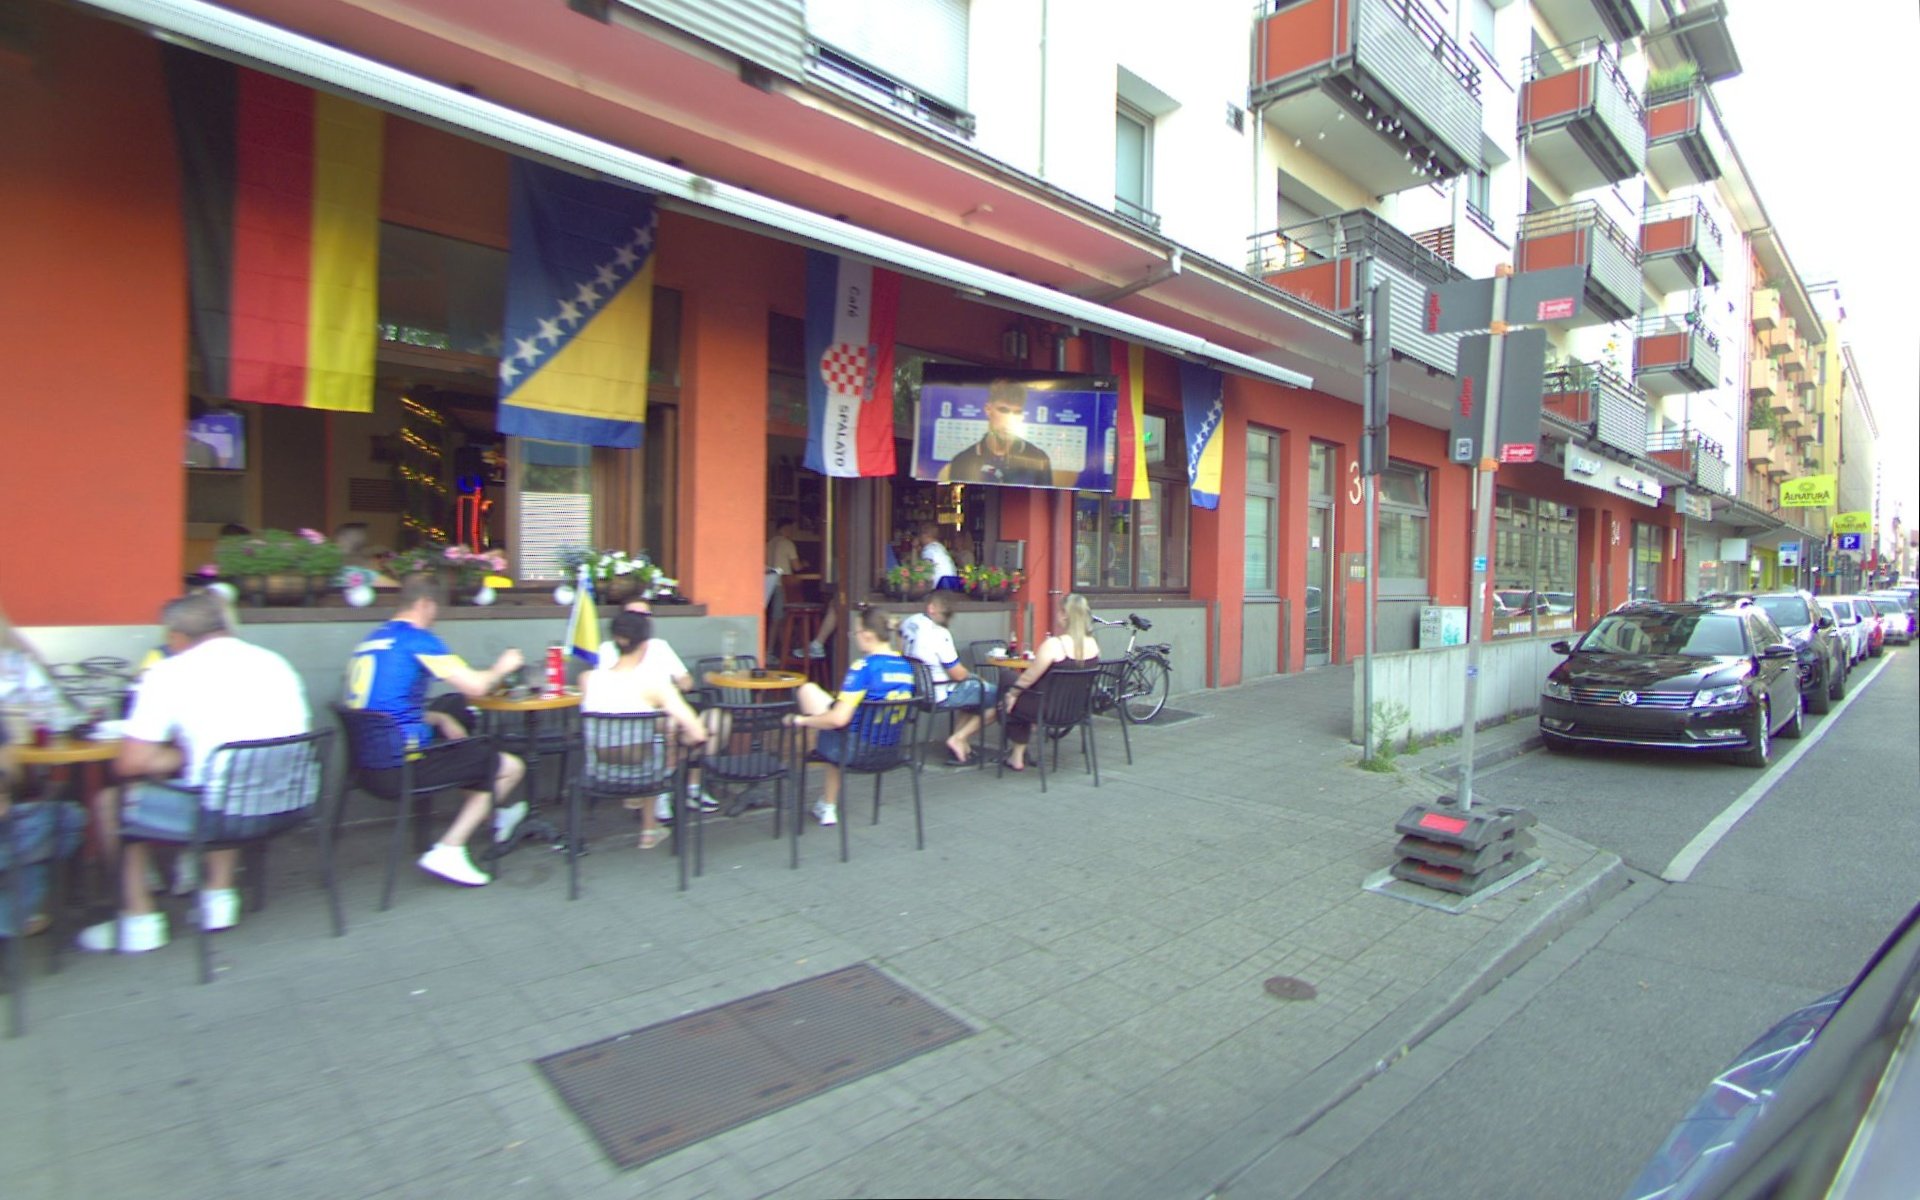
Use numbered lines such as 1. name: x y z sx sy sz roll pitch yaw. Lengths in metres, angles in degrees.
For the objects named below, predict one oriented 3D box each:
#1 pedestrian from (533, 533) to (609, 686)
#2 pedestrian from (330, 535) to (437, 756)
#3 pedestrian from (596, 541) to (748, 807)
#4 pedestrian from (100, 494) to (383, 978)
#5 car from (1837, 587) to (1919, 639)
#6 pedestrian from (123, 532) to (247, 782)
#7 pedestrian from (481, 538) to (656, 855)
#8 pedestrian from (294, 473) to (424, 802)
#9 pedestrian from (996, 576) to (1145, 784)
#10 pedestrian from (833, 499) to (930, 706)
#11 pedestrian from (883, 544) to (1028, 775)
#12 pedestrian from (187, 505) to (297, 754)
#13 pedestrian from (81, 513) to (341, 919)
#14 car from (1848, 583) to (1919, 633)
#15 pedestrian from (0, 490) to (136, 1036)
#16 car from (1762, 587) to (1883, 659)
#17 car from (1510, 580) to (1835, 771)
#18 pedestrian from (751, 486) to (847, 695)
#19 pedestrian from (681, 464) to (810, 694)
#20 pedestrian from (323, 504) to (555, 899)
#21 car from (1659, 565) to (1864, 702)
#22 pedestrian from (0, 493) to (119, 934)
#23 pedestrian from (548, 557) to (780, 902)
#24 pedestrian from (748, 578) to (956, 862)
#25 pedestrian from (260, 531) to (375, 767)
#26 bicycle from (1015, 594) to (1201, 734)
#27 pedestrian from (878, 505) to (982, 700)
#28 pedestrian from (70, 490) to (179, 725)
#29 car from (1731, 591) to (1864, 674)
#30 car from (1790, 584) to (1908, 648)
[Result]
1. pedestrian: -4.806 0.108 12.503 0.746 1.816 0.650 0 0 -34
2. pedestrian: -4.935 0.365 8.674 0.609 1.799 0.609 1 0 38
3. pedestrian: -1.694 0.399 5.950 0.712 1.439 0.592 0 0 45
4. pedestrian: -2.628 0.418 3.703 0.648 1.545 0.690 6 4 41
5. car: 28.551 0.371 31.153 4.228 1.496 1.895 0 0 -43
6. pedestrian: -5.888 0.401 7.694 0.609 1.799 0.609 1 0 38
7. pedestrian: -1.964 0.430 5.069 0.665 1.451 0.552 4 2 43
8. pedestrian: -3.501 0.198 5.897 0.536 1.799 0.513 1 0 42
9. pedestrian: 0.766 0.502 6.955 0.843 1.293 0.709 2 4 23
10. pedestrian: -0.701 0.017 9.037 0.610 1.760 0.608 1 0 44
11. pedestrian: -0.022 0.397 7.306 0.843 1.555 0.709 0 0 23
12. pedestrian: -6.272 0.234 8.837 0.812 2.039 0.659 1 0 45
13. pedestrian: -3.212 0.424 4.342 0.767 1.523 0.771 1 1 43
14. car: 32.534 0.245 35.138 4.290 1.637 1.997 0 0 -41
15. pedestrian: -3.032 0.444 3.034 0.712 1.554 0.748 6 4 41
16. car: 19.756 0.477 23.123 3.882 1.496 1.764 0 0 -44
17. car: 7.563 0.609 10.545 4.552 1.571 1.876 0 0 -43
18. pedestrian: -1.454 -0.090 9.169 0.610 1.799 0.608 1 0 42
19. pedestrian: -2.081 -0.192 9.698 1.126 2.039 1.155 0 0 -16
20. pedestrian: -2.335 0.398 4.527 0.850 1.555 0.669 0 0 42
21. car: 11.765 0.409 14.757 4.070 1.721 1.880 0 0 -45
22. pedestrian: -3.614 0.383 3.773 0.674 1.554 0.644 4 3 43
23. pedestrian: -1.324 0.511 4.536 0.653 1.361 0.738 4 3 42
24. pedestrian: -0.597 0.562 5.360 0.835 1.321 0.880 0 2 -25
25. pedestrian: -5.179 0.366 8.160 0.609 1.799 0.609 1 0 38
26. bicycle: 1.339 0.496 8.849 0.549 1.101 1.973 0 0 45
27. pedestrian: -0.285 0.016 9.520 0.716 1.742 0.658 1 0 44
28. pedestrian: -6.731 0.051 8.155 0.610 1.799 0.608 1 0 43
29. car: 16.053 0.552 19.330 1.747 1.421 3.906 0 0 43
30. car: 22.954 0.366 26.084 4.320 1.496 1.864 0 0 -43
